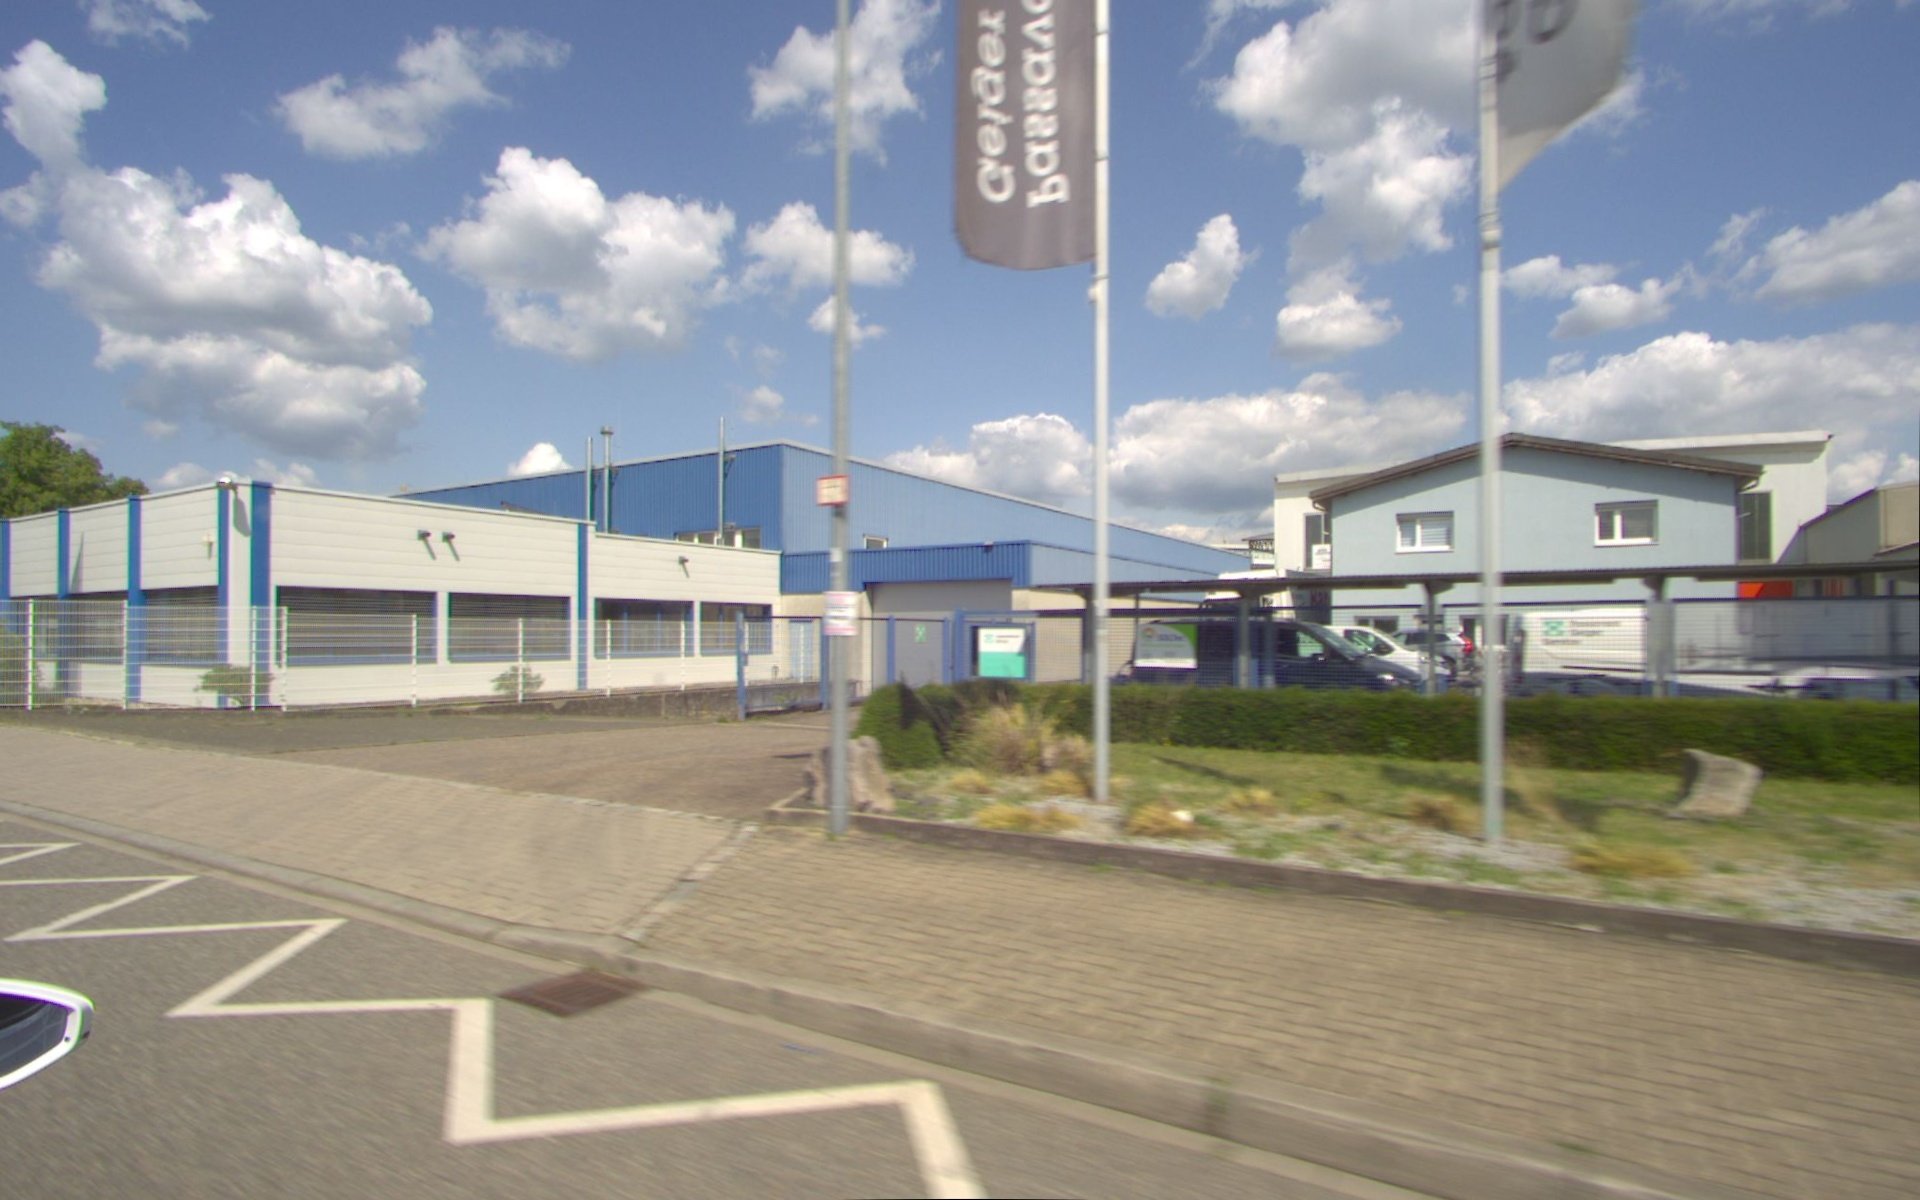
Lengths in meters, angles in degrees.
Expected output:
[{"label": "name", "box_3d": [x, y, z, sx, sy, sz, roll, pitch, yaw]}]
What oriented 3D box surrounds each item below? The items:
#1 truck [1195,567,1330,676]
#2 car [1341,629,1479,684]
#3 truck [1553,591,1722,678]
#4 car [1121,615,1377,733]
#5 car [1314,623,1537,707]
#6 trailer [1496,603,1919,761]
[{"label": "truck", "box_3d": [12.881, 0.875, 41.898, 2.593, 4.050, 9.608, -1, -1, 34]}, {"label": "car", "box_3d": [14.861, 1.852, 33.129, 3.943, 1.722, 1.852, -2, -3, 32]}, {"label": "truck", "box_3d": [19.648, 1.039, 29.247, 3.944, 2.393, 1.990, -1, -3, 33]}, {"label": "car", "box_3d": [5.183, 1.273, 18.022, 4.080, 1.893, 1.992, -1, -3, 30]}, {"label": "car", "box_3d": [11.022, 1.495, 23.798, 4.641, 1.827, 1.992, -1, -3, 30]}, {"label": "trailer", "box_3d": [10.737, 1.109, 14.534, 5.199, 2.010, 1.684, -1, -2, 30]}]
